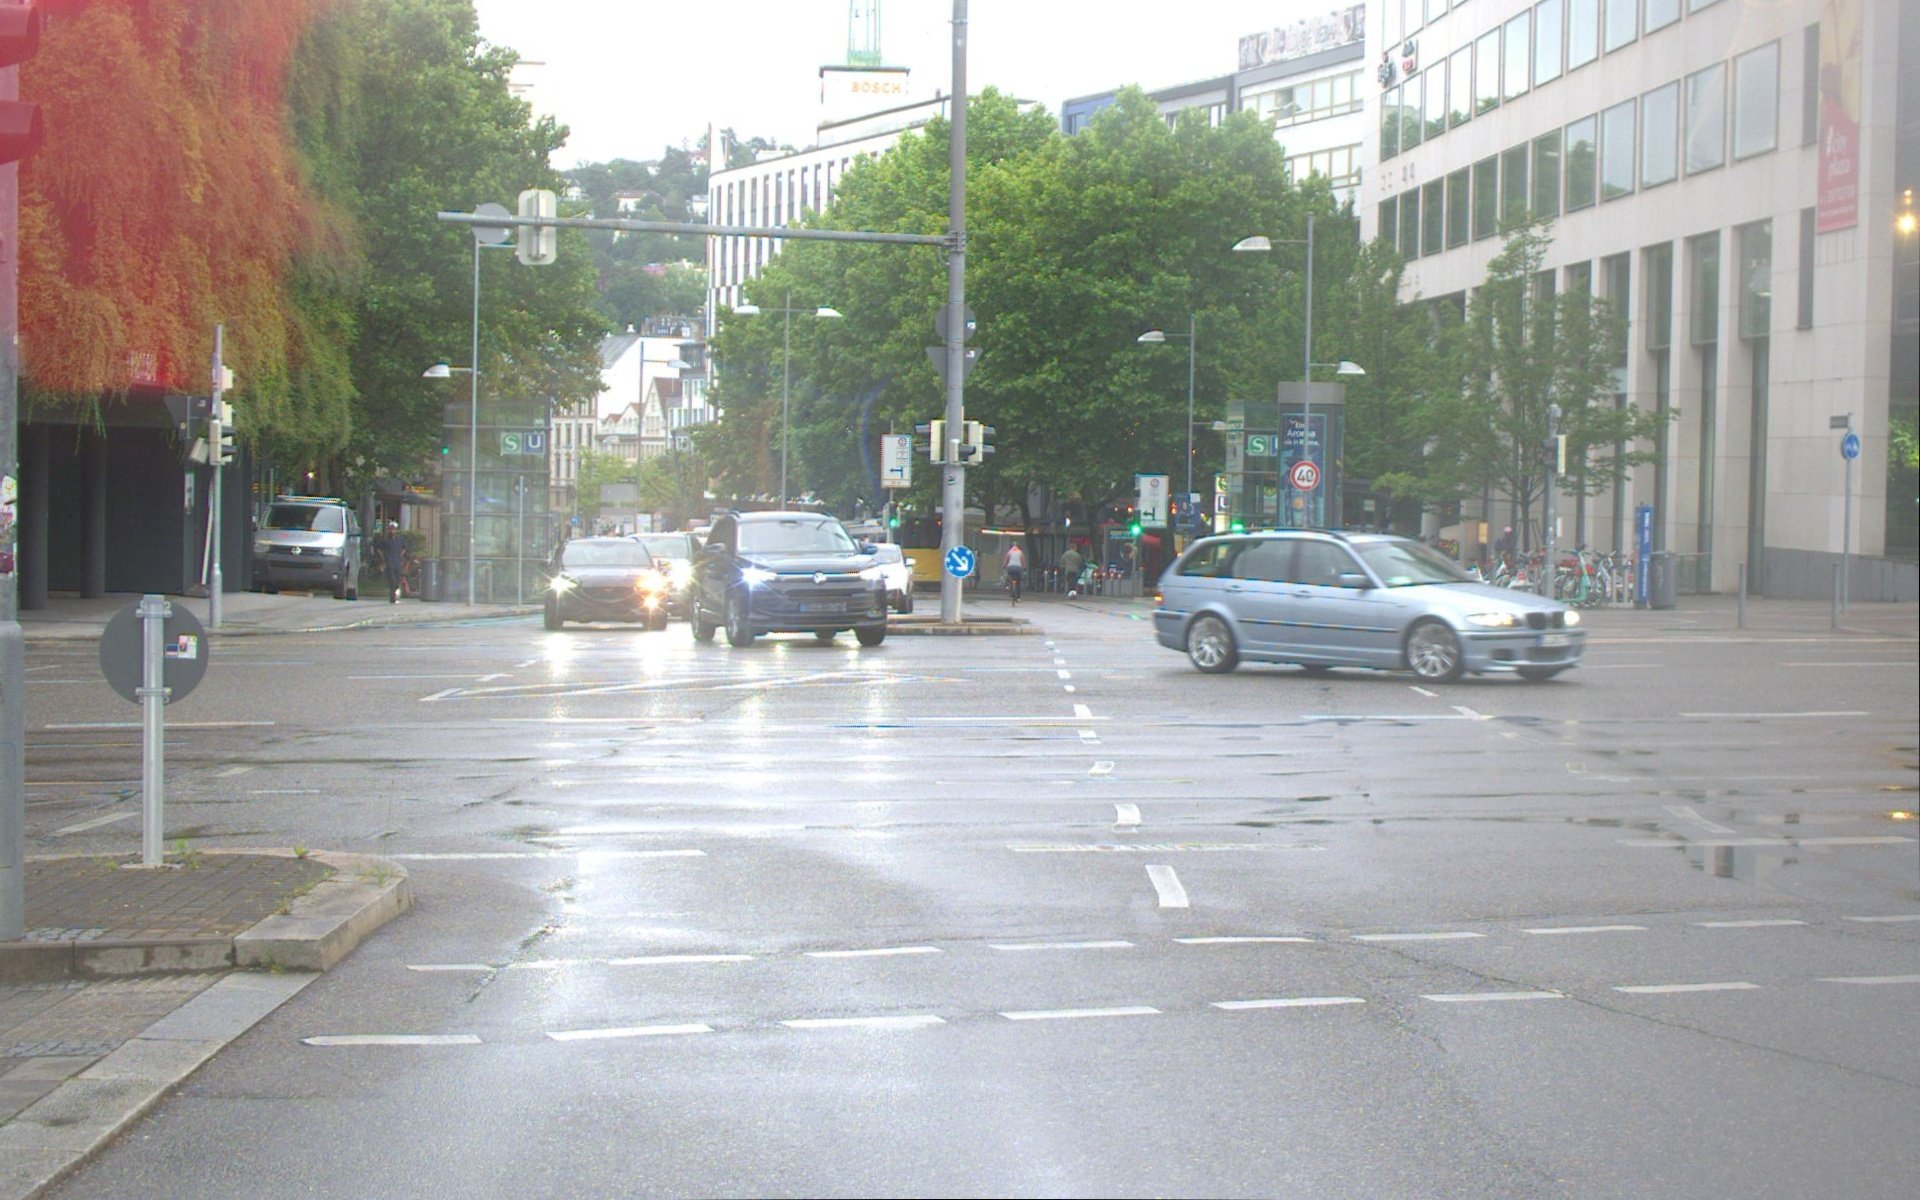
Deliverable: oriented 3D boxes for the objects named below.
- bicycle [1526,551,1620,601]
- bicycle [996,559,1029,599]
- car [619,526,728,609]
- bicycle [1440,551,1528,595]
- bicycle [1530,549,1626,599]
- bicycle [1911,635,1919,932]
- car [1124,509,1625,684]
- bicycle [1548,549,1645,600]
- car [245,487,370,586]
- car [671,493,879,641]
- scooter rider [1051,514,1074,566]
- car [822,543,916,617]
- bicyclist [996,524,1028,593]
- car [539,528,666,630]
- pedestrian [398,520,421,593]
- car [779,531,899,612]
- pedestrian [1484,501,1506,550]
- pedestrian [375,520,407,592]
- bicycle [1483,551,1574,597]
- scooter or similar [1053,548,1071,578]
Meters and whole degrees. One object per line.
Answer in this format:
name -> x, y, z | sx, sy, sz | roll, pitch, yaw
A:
bicycle -> 11.858, -0.469, 66.574 | 1.799, 0.931, 0.474 | 1, 1, 41
bicycle -> 1.500, -0.617, 98.521 | 0.791, 1.113, 2.256 | 1, 1, -3
car -> -5.378, -0.629, 64.135 | 1.856, 1.443, 4.622 | 0, 2, -7
bicycle -> 11.077, -0.573, 72.750 | 1.794, 0.931, 0.475 | 0, 1, 3
bicycle -> 11.830, -0.495, 65.829 | 1.799, 0.931, 0.474 | 1, 1, 41
bicycle -> 4.694, 0.689, 12.775 | 2.145, 1.099, 0.848 | 0, 1, -21
car -> 3.888, -0.090, 32.775 | 4.461, 1.481, 1.995 | 2, 3, 45
bicycle -> 12.004, -0.481, 64.863 | 1.799, 0.931, 0.474 | 1, 1, 41
car -> -12.919, -1.267, 68.302 | 1.993, 1.888, 4.466 | 0, 1, -5
car -> -2.324, -0.451, 42.097 | 1.963, 1.649, 4.366 | -1, 2, -11
scooter rider -> 3.518, -2.064, 118.032 | 0.762, 1.768, 0.796 | 0, 1, 1
car -> -2.114, -0.490, 78.713 | 1.993, 1.524, 4.557 | 0, 2, -3
bicyclist -> 1.488, -1.197, 98.558 | 0.791, 1.968, 1.114 | 0, 1, -4
car -> -5.502, -0.354, 52.631 | 1.856, 1.443, 4.622 | 0, 2, -7
pedestrian -> -11.566, -0.915, 72.236 | 0.436, 1.519, 0.548 | 0, 1, -5
car -> -2.303, -0.564, 64.402 | 1.993, 1.439, 4.557 | 0, 1, -5
pedestrian -> 12.859, -1.798, 82.695 | 0.353, 1.169, 0.415 | 0, 1, -24
pedestrian -> -11.939, -0.926, 72.143 | 0.607, 1.519, 0.588 | 0, 1, -5
bicycle -> 11.729, -0.542, 70.902 | 1.794, 0.931, 0.475 | 0, 1, 3
scooter or similar -> 3.501, -1.268, 118.051 | 0.556, 1.003, 1.824 | 0, 1, 1
